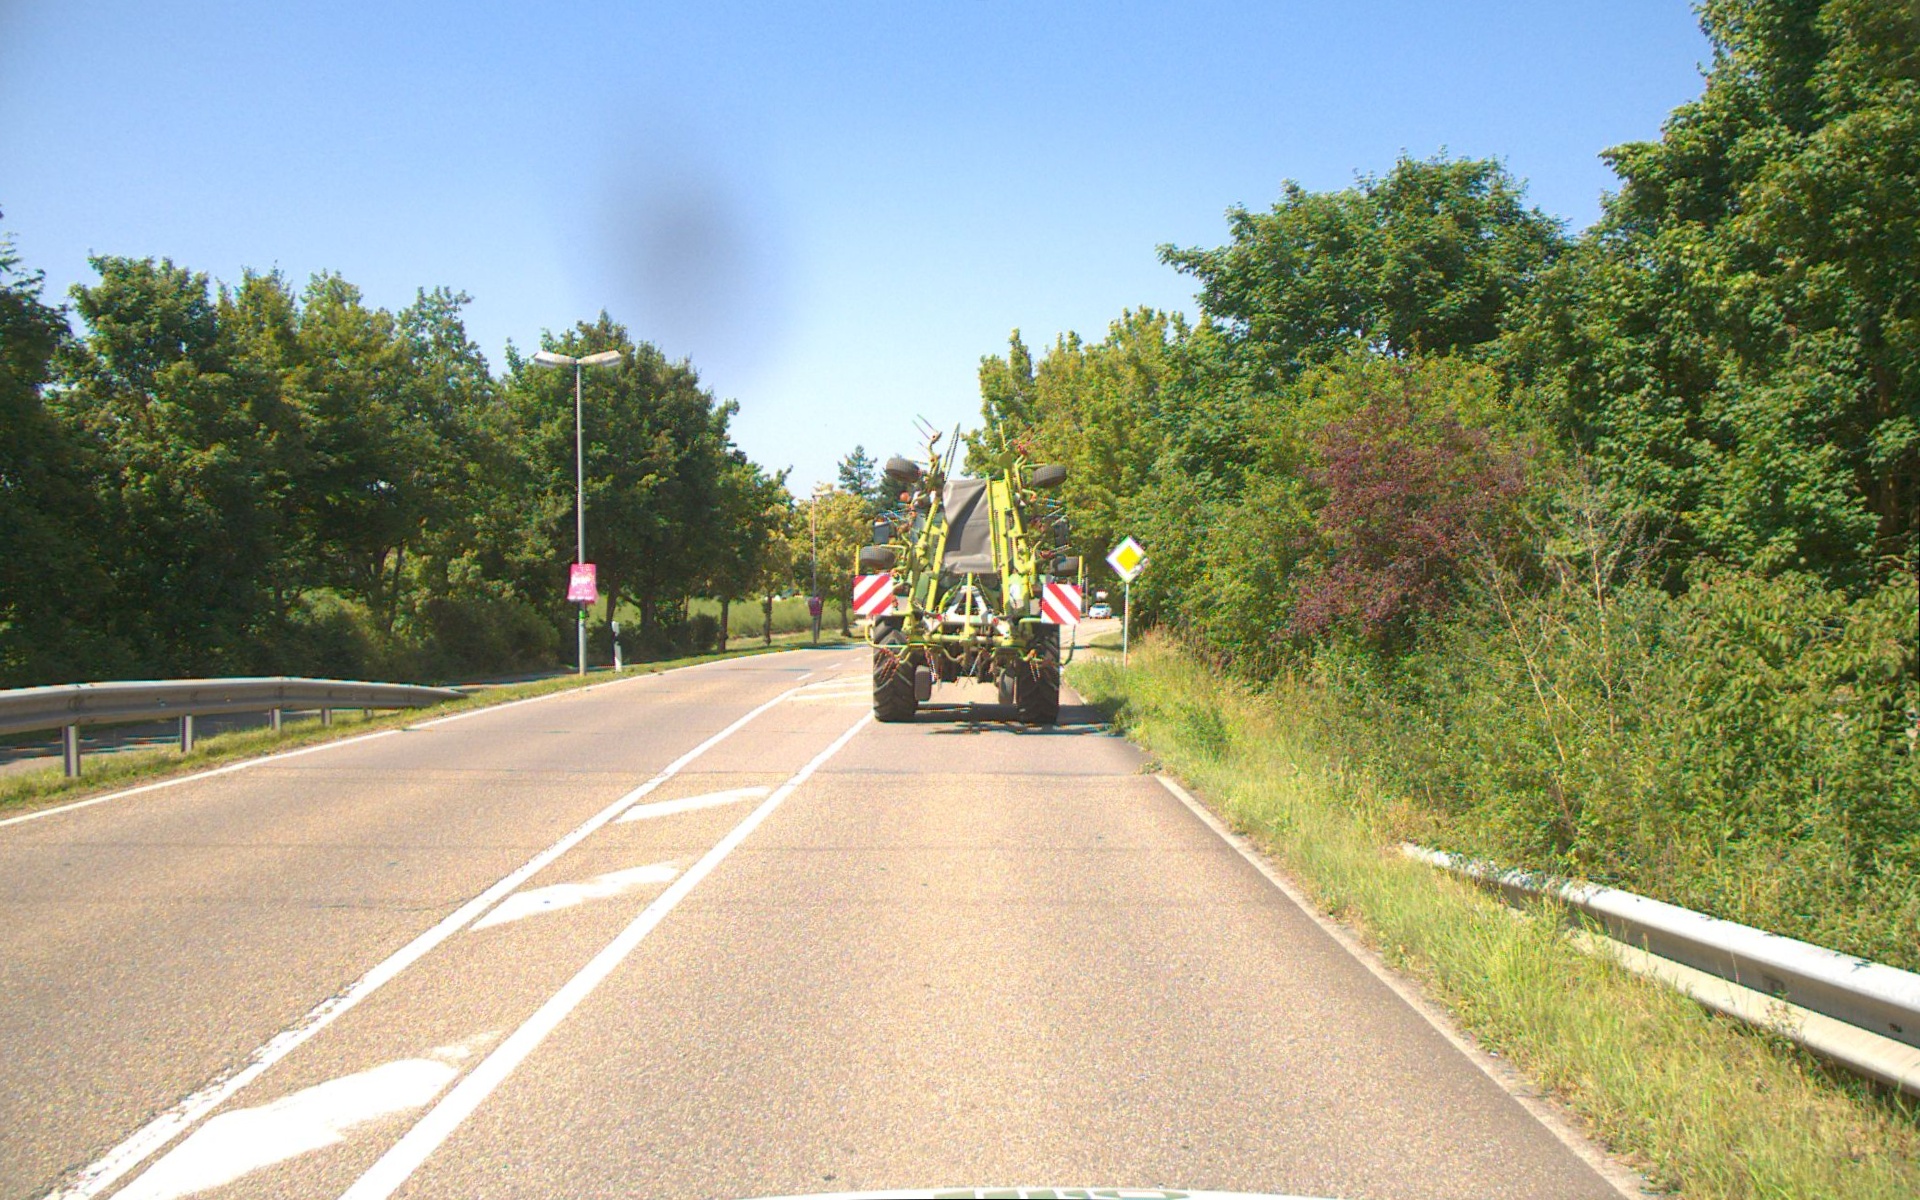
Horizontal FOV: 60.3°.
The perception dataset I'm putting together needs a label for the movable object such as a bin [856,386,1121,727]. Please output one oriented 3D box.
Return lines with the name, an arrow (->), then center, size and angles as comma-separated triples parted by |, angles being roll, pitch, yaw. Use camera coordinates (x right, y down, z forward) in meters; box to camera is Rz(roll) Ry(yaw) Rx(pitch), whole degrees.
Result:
movable object such as a bin -> 0.192, -0.508, 22.458 | 2.795, 3.603, 9.698 | 0, 1, -1
